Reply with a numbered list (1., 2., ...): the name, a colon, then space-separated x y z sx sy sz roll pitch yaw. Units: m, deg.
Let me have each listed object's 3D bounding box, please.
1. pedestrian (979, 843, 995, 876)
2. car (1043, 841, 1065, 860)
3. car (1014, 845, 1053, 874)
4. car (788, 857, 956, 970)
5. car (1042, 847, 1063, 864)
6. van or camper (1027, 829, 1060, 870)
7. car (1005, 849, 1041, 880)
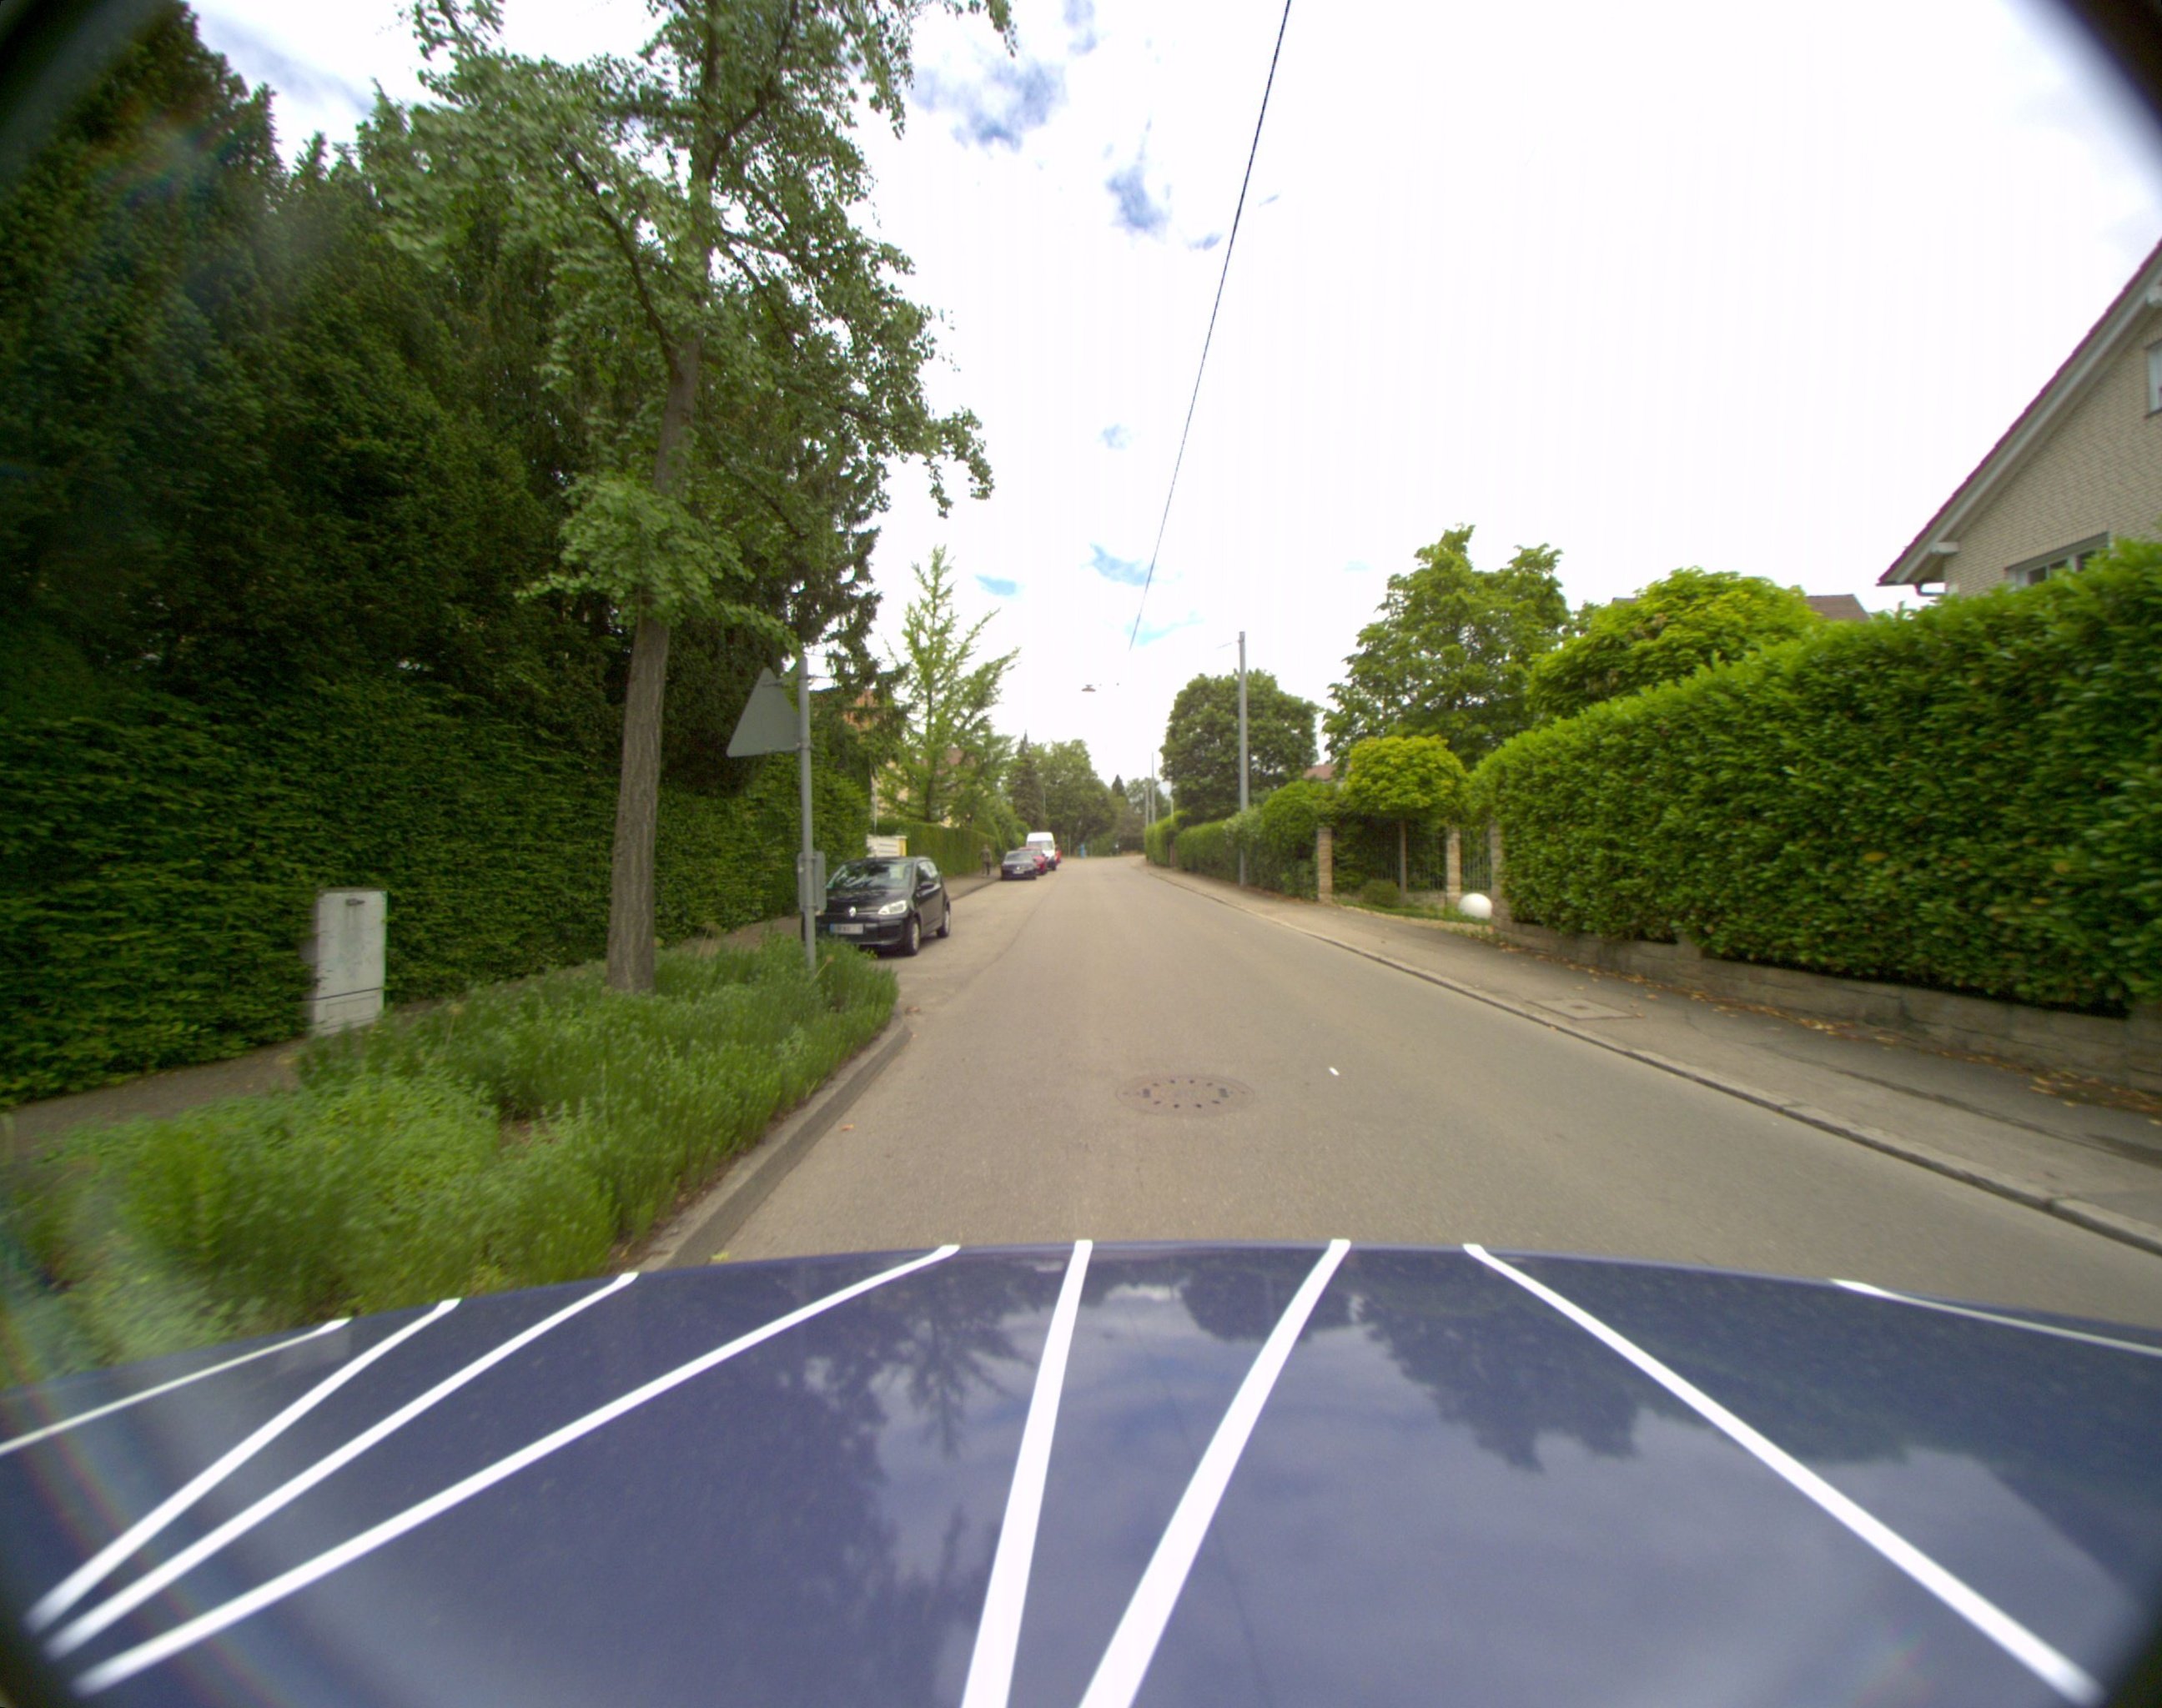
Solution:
1. pedestrian: -4.761 0.266 38.671 0.671 1.689 0.918 1 1 2
2. car: -2.571 -0.351 73.084 1.771 1.755 4.162 -1 1 3
3. car: -2.715 0.281 44.306 1.893 1.572 4.764 1 1 1
4. car: -3.161 0.822 12.263 1.627 1.464 3.740 -1 1 0
5. car: -2.476 0.085 67.156 1.704 1.422 4.394 -1 1 -1
6. van or camper: -2.565 -0.378 52.877 2.047 2.605 7.036 -2 1 -2
7. car: -2.927 0.506 38.143 1.684 1.399 4.051 1 1 -5
